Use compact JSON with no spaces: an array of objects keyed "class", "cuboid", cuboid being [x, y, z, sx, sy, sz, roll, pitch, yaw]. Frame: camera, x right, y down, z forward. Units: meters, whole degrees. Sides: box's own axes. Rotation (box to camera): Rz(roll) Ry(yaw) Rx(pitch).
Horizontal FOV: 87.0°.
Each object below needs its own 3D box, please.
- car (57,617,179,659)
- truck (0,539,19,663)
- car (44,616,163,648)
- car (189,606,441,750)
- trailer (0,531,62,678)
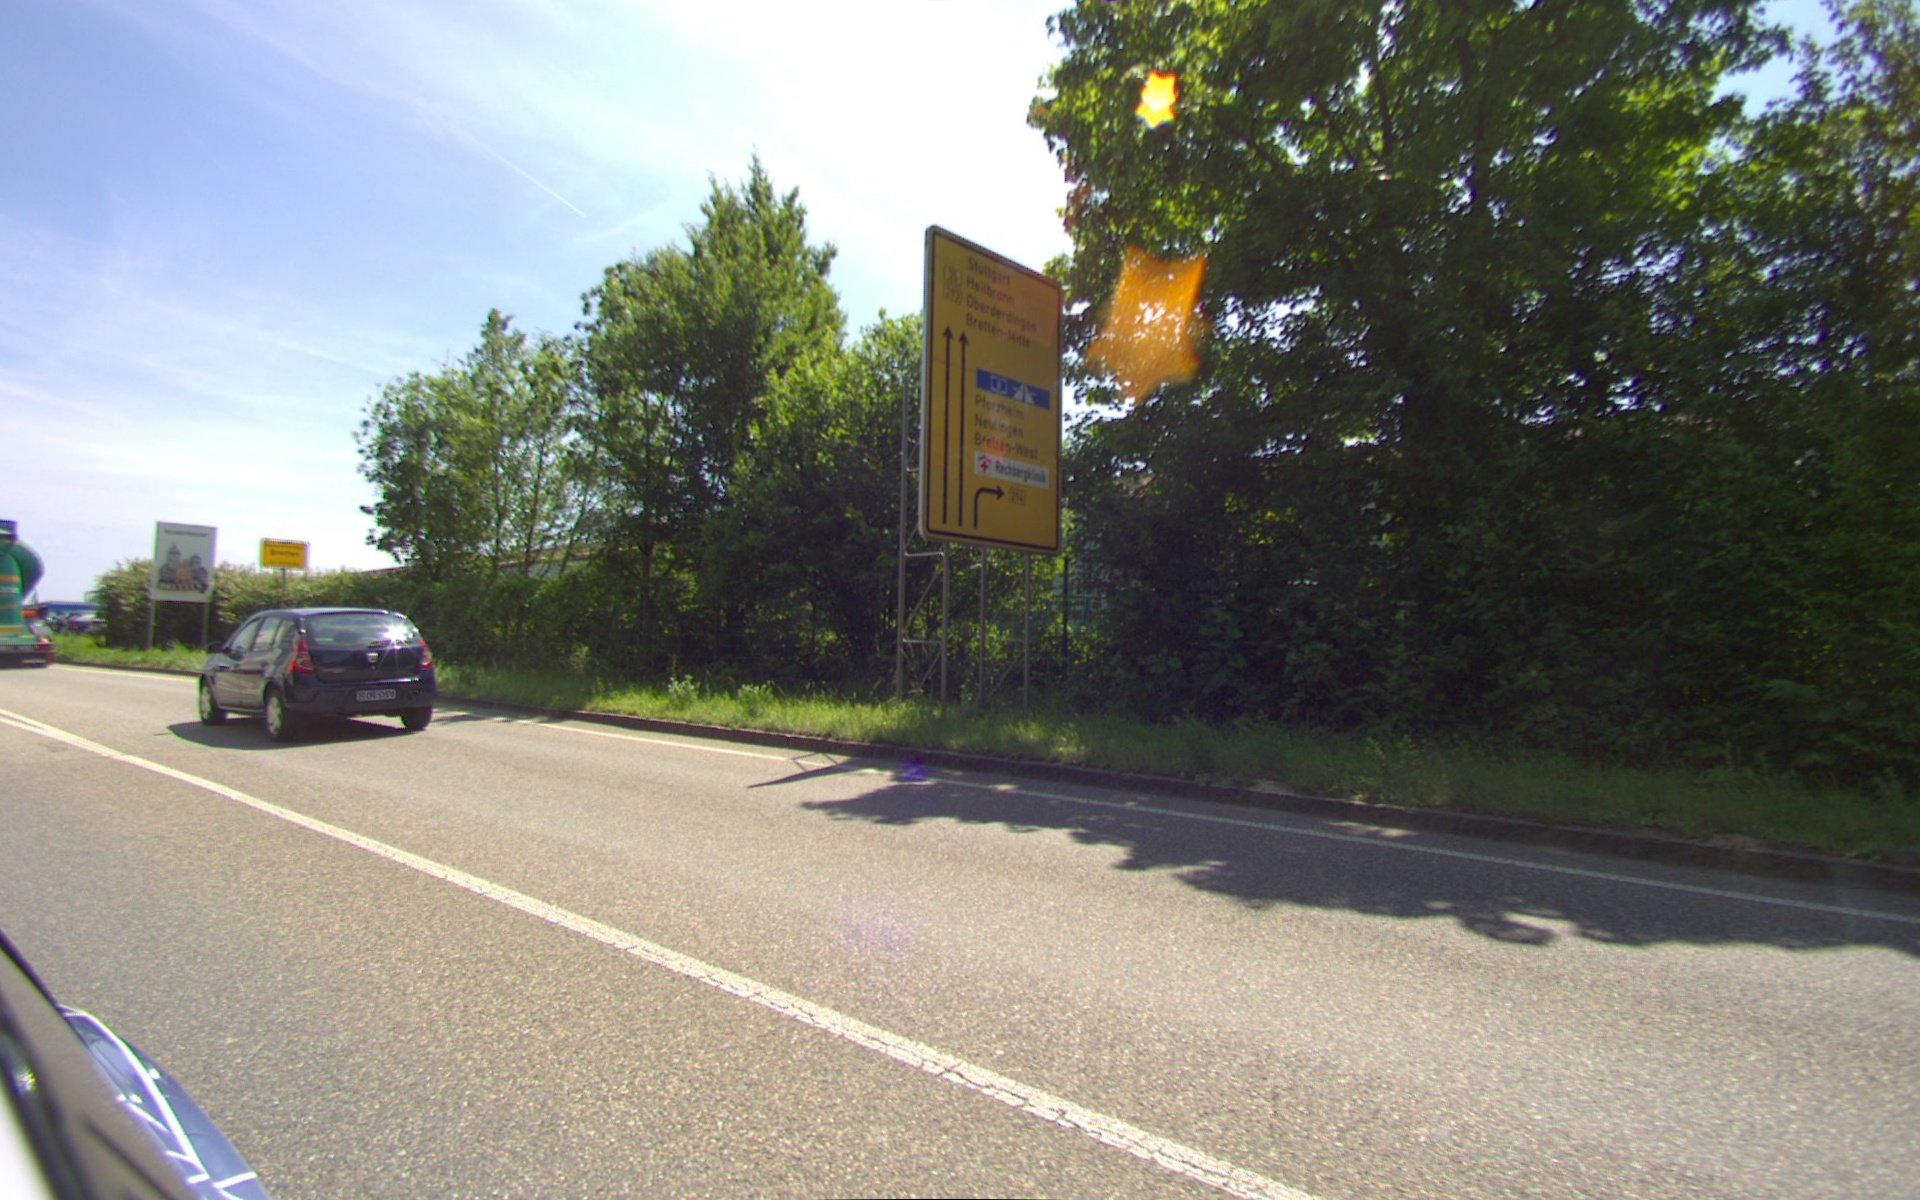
[{"class":"car","cuboid":[-38.462,1.796,46.299,1.999,1.763,3.946,-2,-5,40]},{"class":"truck","cuboid":[-32.234,0.076,31.843,7.862,3.708,2.555,-1,-1,37]},{"class":"car","cuboid":[-40.272,1.536,47.656,1.999,1.342,3.946,-2,-5,40]},{"class":"car","cuboid":[-8.306,0.879,12.888,4.068,1.541,1.666,-1,-1,41]},{"class":"trailer","cuboid":[-28.780,0.191,29.195,8.898,3.848,2.554,-1,-1,37]}]
